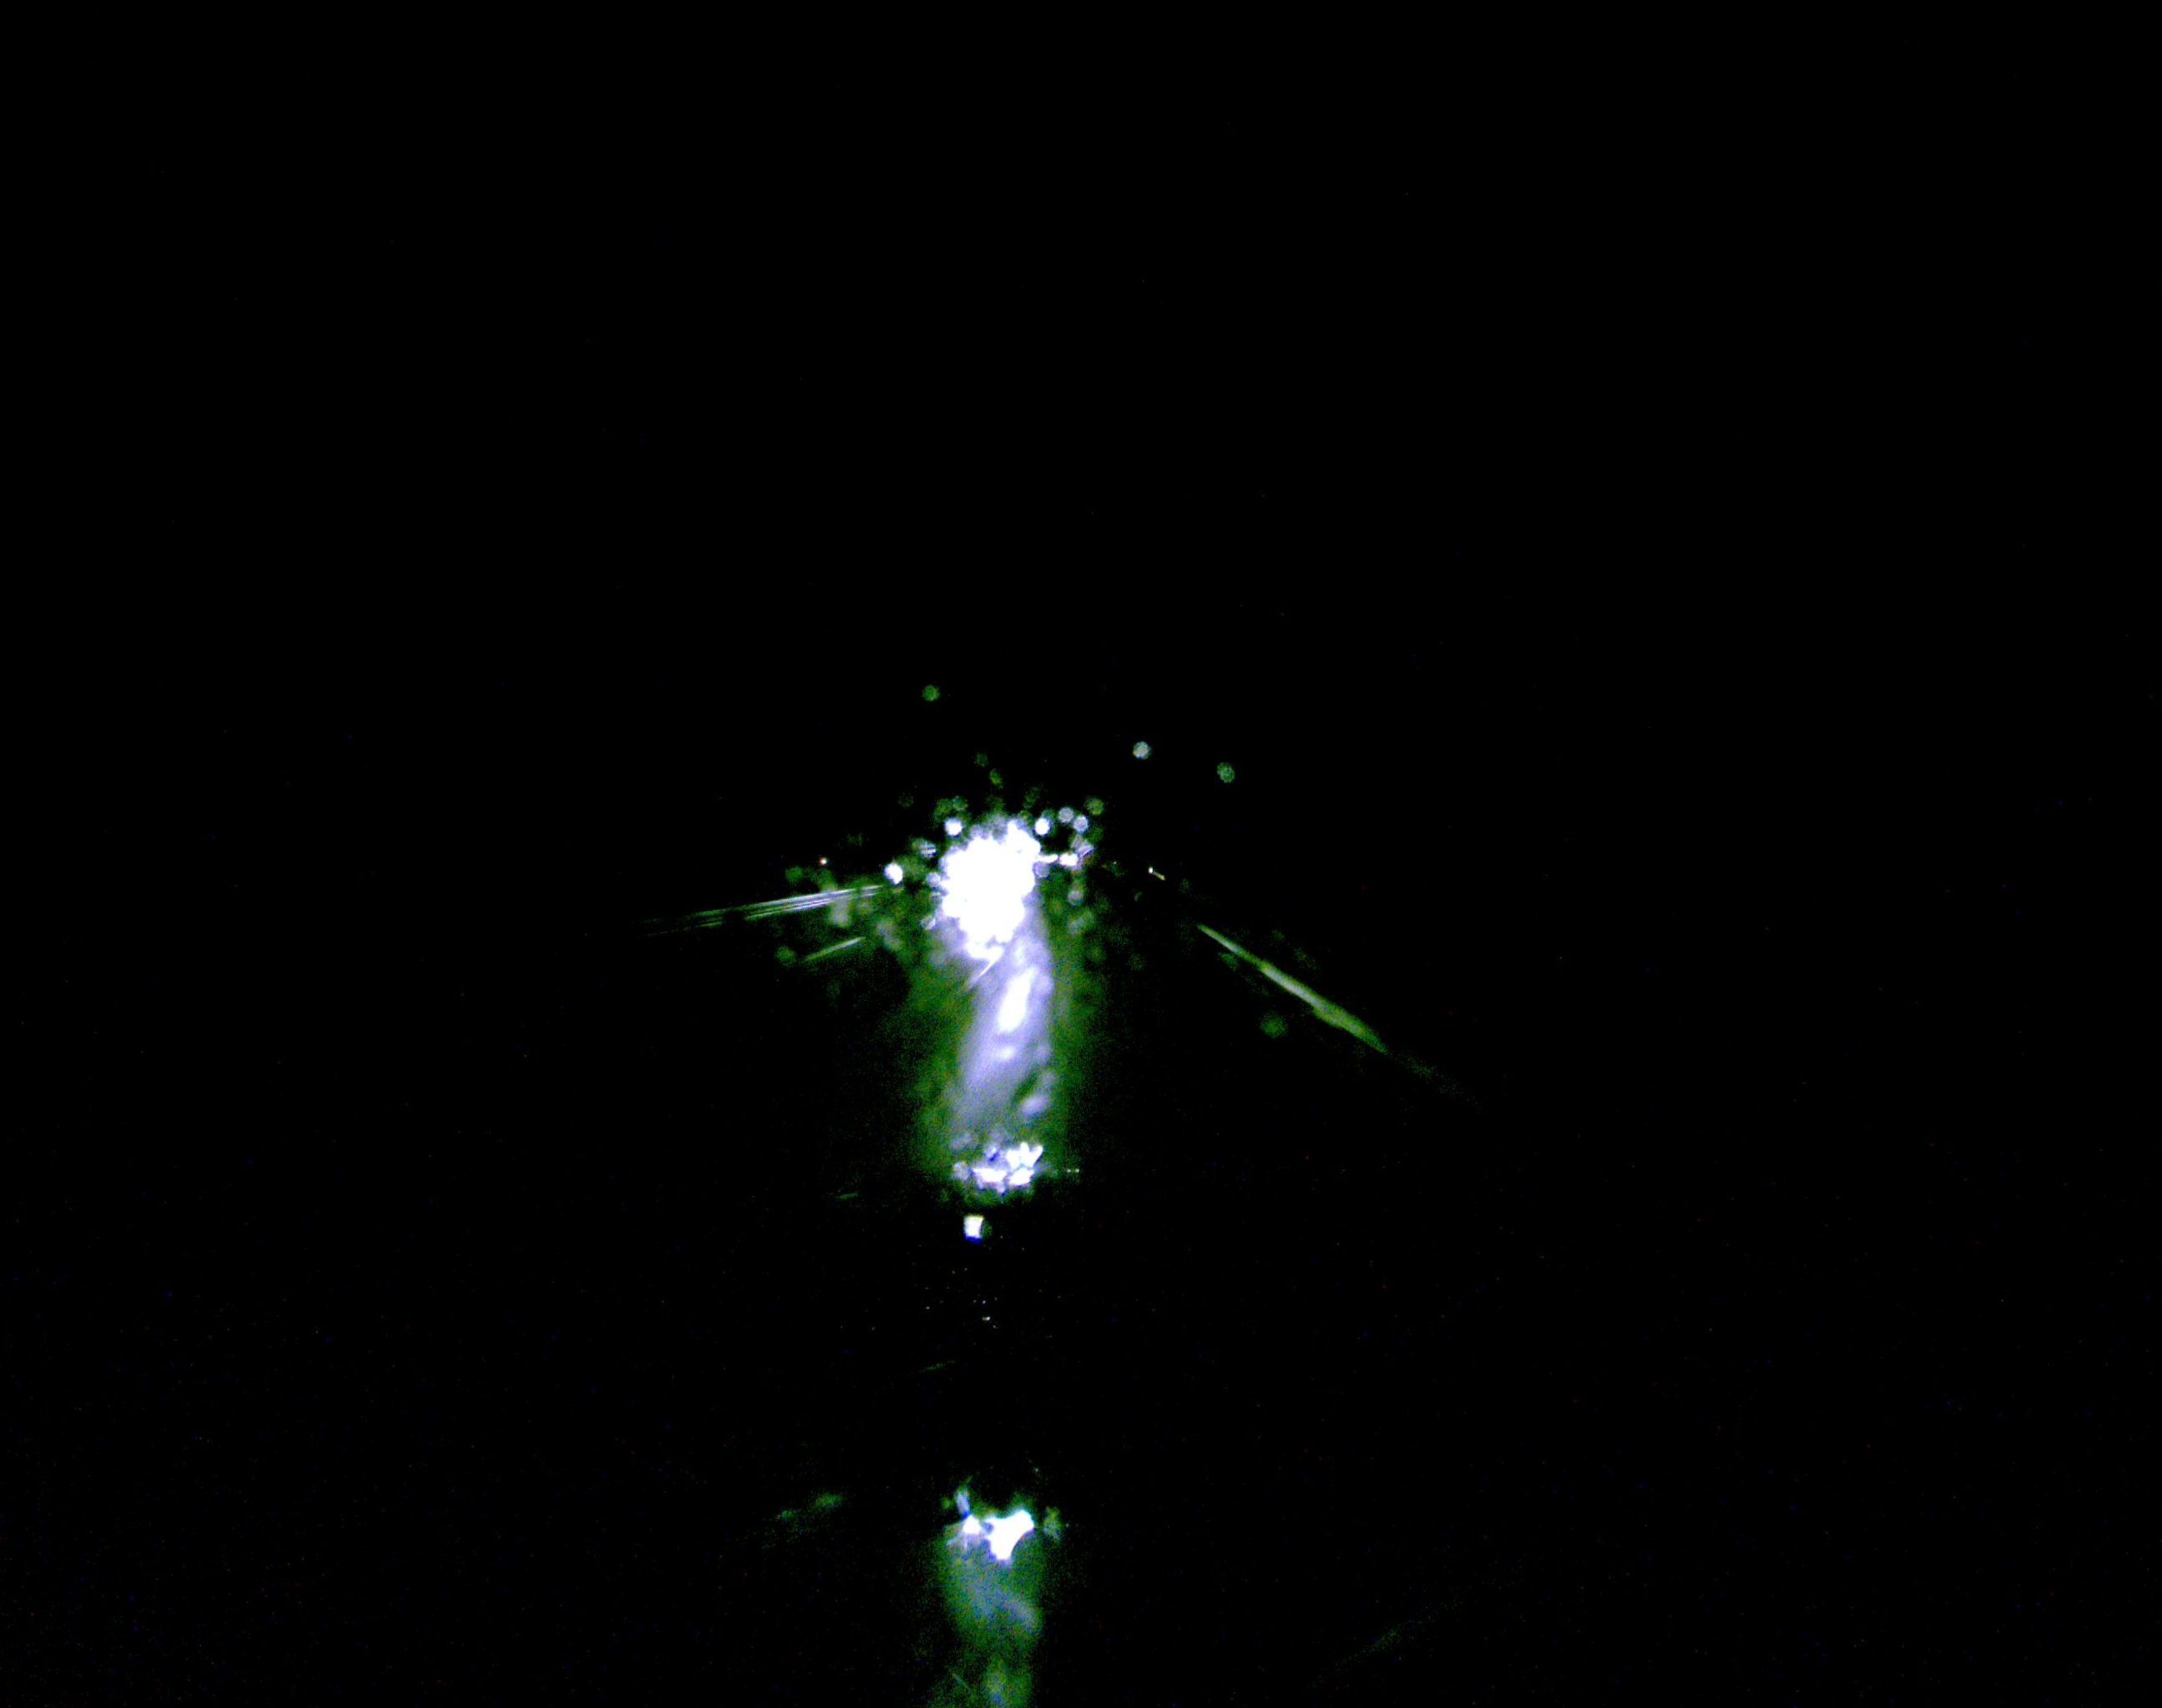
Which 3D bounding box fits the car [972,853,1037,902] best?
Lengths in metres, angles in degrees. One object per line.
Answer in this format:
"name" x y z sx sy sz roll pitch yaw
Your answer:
"car" -2.597 0.774 28.388 1.823 1.568 3.780 0 0 1
